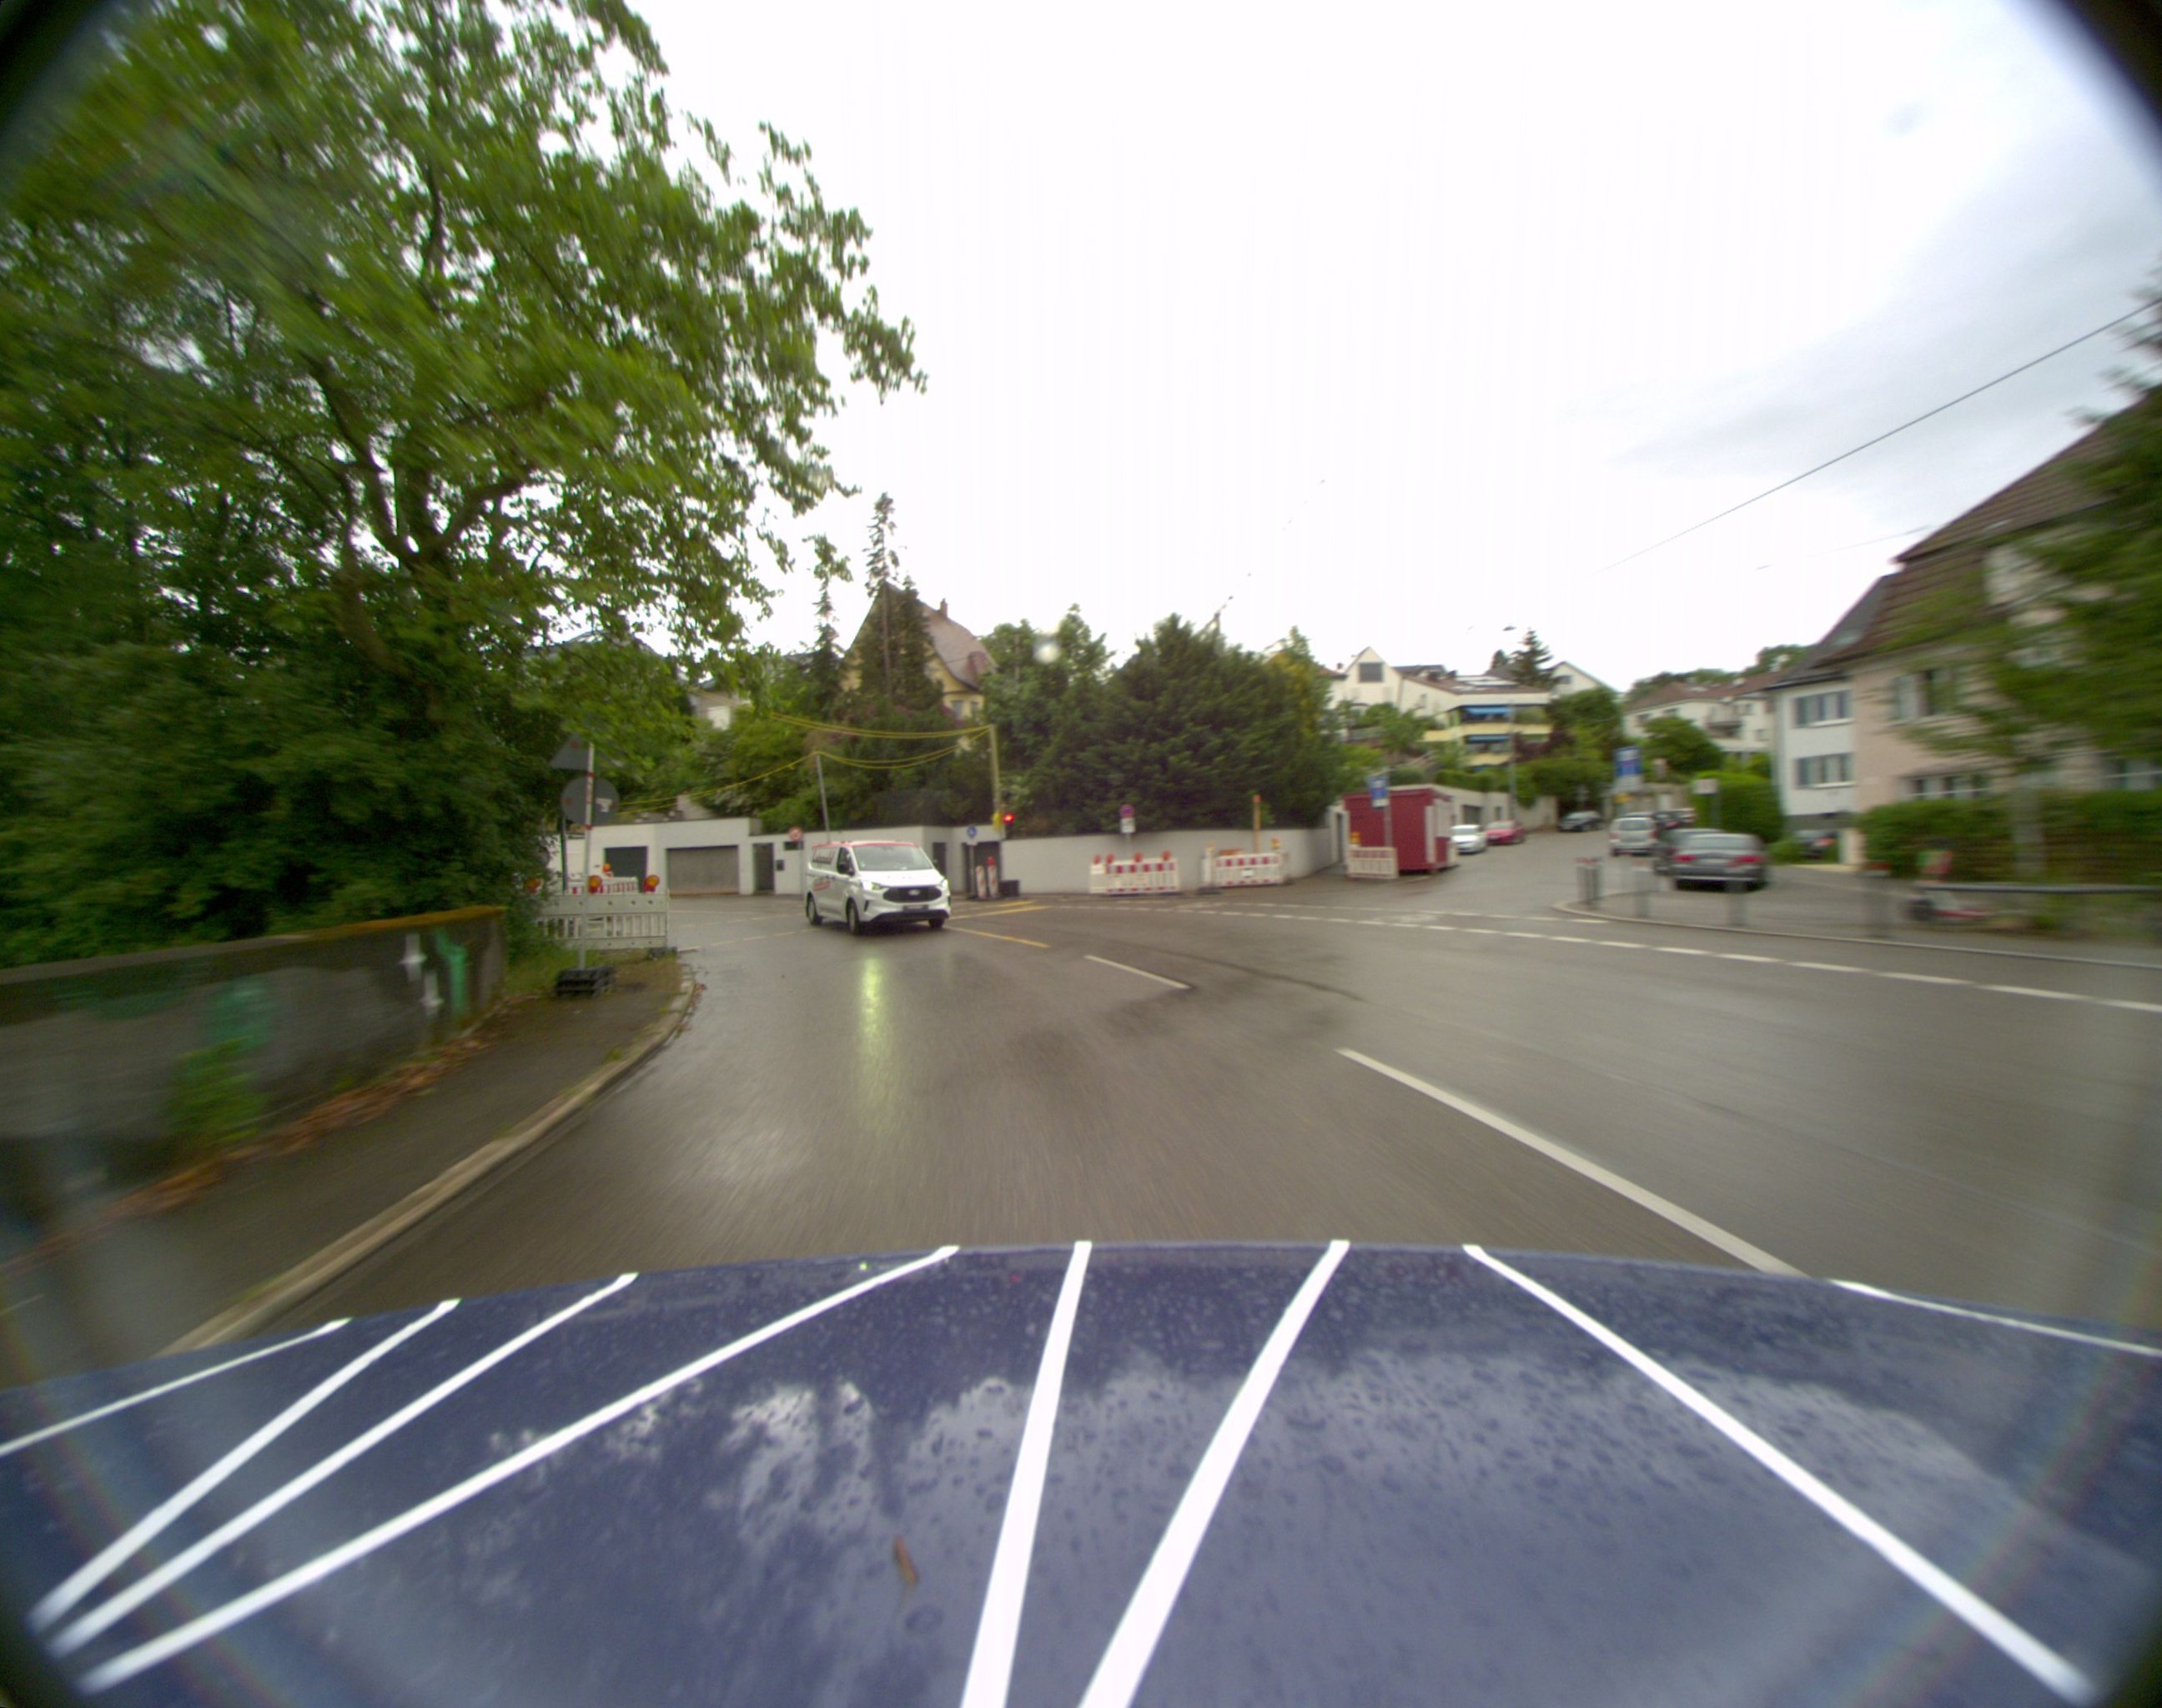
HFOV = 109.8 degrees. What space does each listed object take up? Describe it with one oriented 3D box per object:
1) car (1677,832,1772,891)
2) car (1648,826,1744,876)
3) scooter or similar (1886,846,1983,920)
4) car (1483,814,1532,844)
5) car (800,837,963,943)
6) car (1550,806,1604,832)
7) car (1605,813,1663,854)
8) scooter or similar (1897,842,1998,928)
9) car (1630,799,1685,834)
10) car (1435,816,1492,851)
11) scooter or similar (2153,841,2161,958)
[{"bbox_3d":[16.298,0.141,19.340,1.670,1.259,4.212,-1,2,39],"label":"car"},{"bbox_3d":[19.360,-0.143,24.079,1.671,1.394,4.211,-1,1,29],"label":"car"},{"bbox_3d":[12.619,0.428,11.248,1.035,1.063,0.243,-2,2,8],"label":"scooter or similar"},{"bbox_3d":[25.902,-1.481,46.087,1.869,1.652,4.008,0,0,40],"label":"car"},{"bbox_3d":[-4.664,0.712,17.177,2.003,2.002,4.936,-2,0,-34],"label":"car"},{"bbox_3d":[35.705,-2.519,54.713,4.006,1.484,1.878,-6,-1,-37],"label":"car"},{"bbox_3d":[25.030,-0.975,34.521,1.869,1.653,4.006,0,4,33],"label":"car"},{"bbox_3d":[12.128,0.431,10.640,1.036,1.158,0.243,-2,2,7],"label":"scooter or similar"},{"bbox_3d":[30.937,-2.057,40.873,1.994,1.697,4.006,0,4,32],"label":"car"},{"bbox_3d":[20.171,-1.094,39.982,1.994,1.653,4.007,0,3,36],"label":"car"},{"bbox_3d":[11.667,0.453,7.965,1.038,1.211,0.243,-3,2,-21],"label":"scooter or similar"}]
